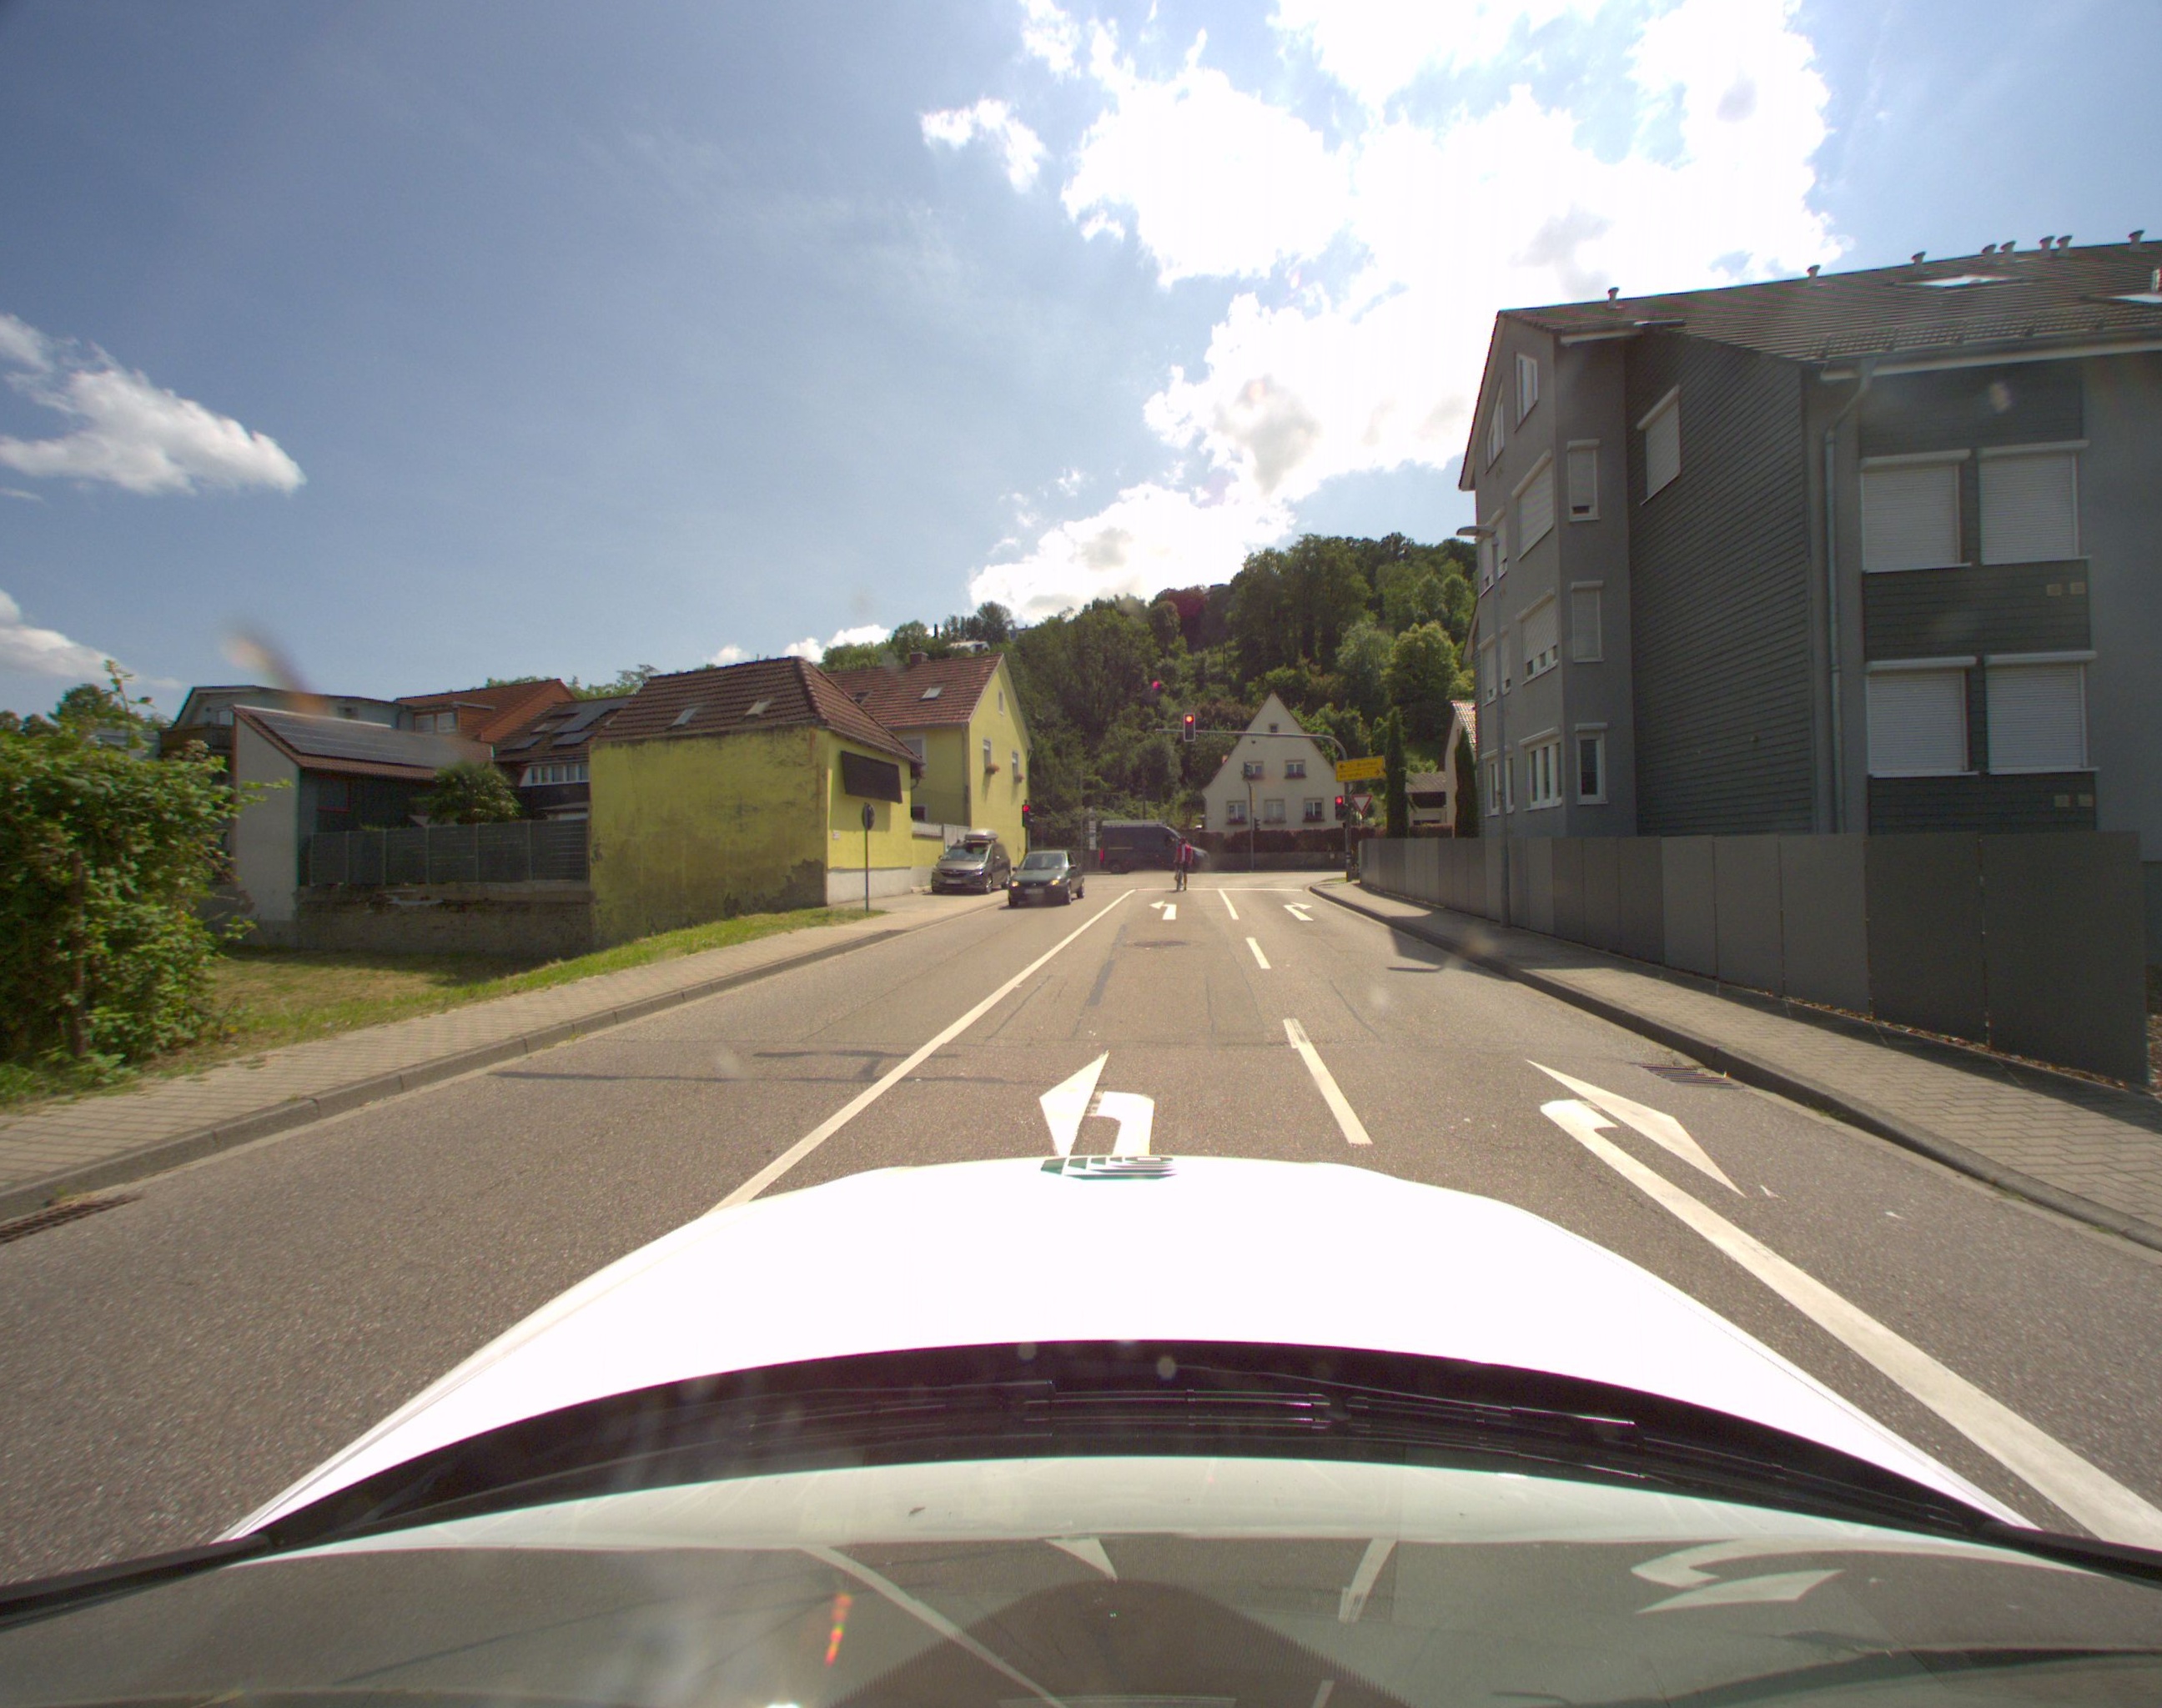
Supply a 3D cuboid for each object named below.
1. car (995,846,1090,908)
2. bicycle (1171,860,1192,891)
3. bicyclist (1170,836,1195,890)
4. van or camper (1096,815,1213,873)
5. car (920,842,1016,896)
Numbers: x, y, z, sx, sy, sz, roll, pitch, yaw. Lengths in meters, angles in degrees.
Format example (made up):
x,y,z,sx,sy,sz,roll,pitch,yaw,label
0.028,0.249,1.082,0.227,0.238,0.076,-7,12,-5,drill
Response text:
x,y,z,sx,sy,sz,roll,pitch,yaw,label
-0.943,0.556,21.979,1.770,1.433,3.882,-2,0,8,car
3.157,0.672,25.570,0.626,0.905,1.660,0,1,7,bicycle
3.193,0.283,25.561,0.756,1.664,0.870,0,0,7,bicyclist
4.024,-0.503,44.341,5.948,3.004,2.227,-1,0,15,van or camper
-3.609,0.423,26.935,1.983,1.635,4.640,0,1,7,car
